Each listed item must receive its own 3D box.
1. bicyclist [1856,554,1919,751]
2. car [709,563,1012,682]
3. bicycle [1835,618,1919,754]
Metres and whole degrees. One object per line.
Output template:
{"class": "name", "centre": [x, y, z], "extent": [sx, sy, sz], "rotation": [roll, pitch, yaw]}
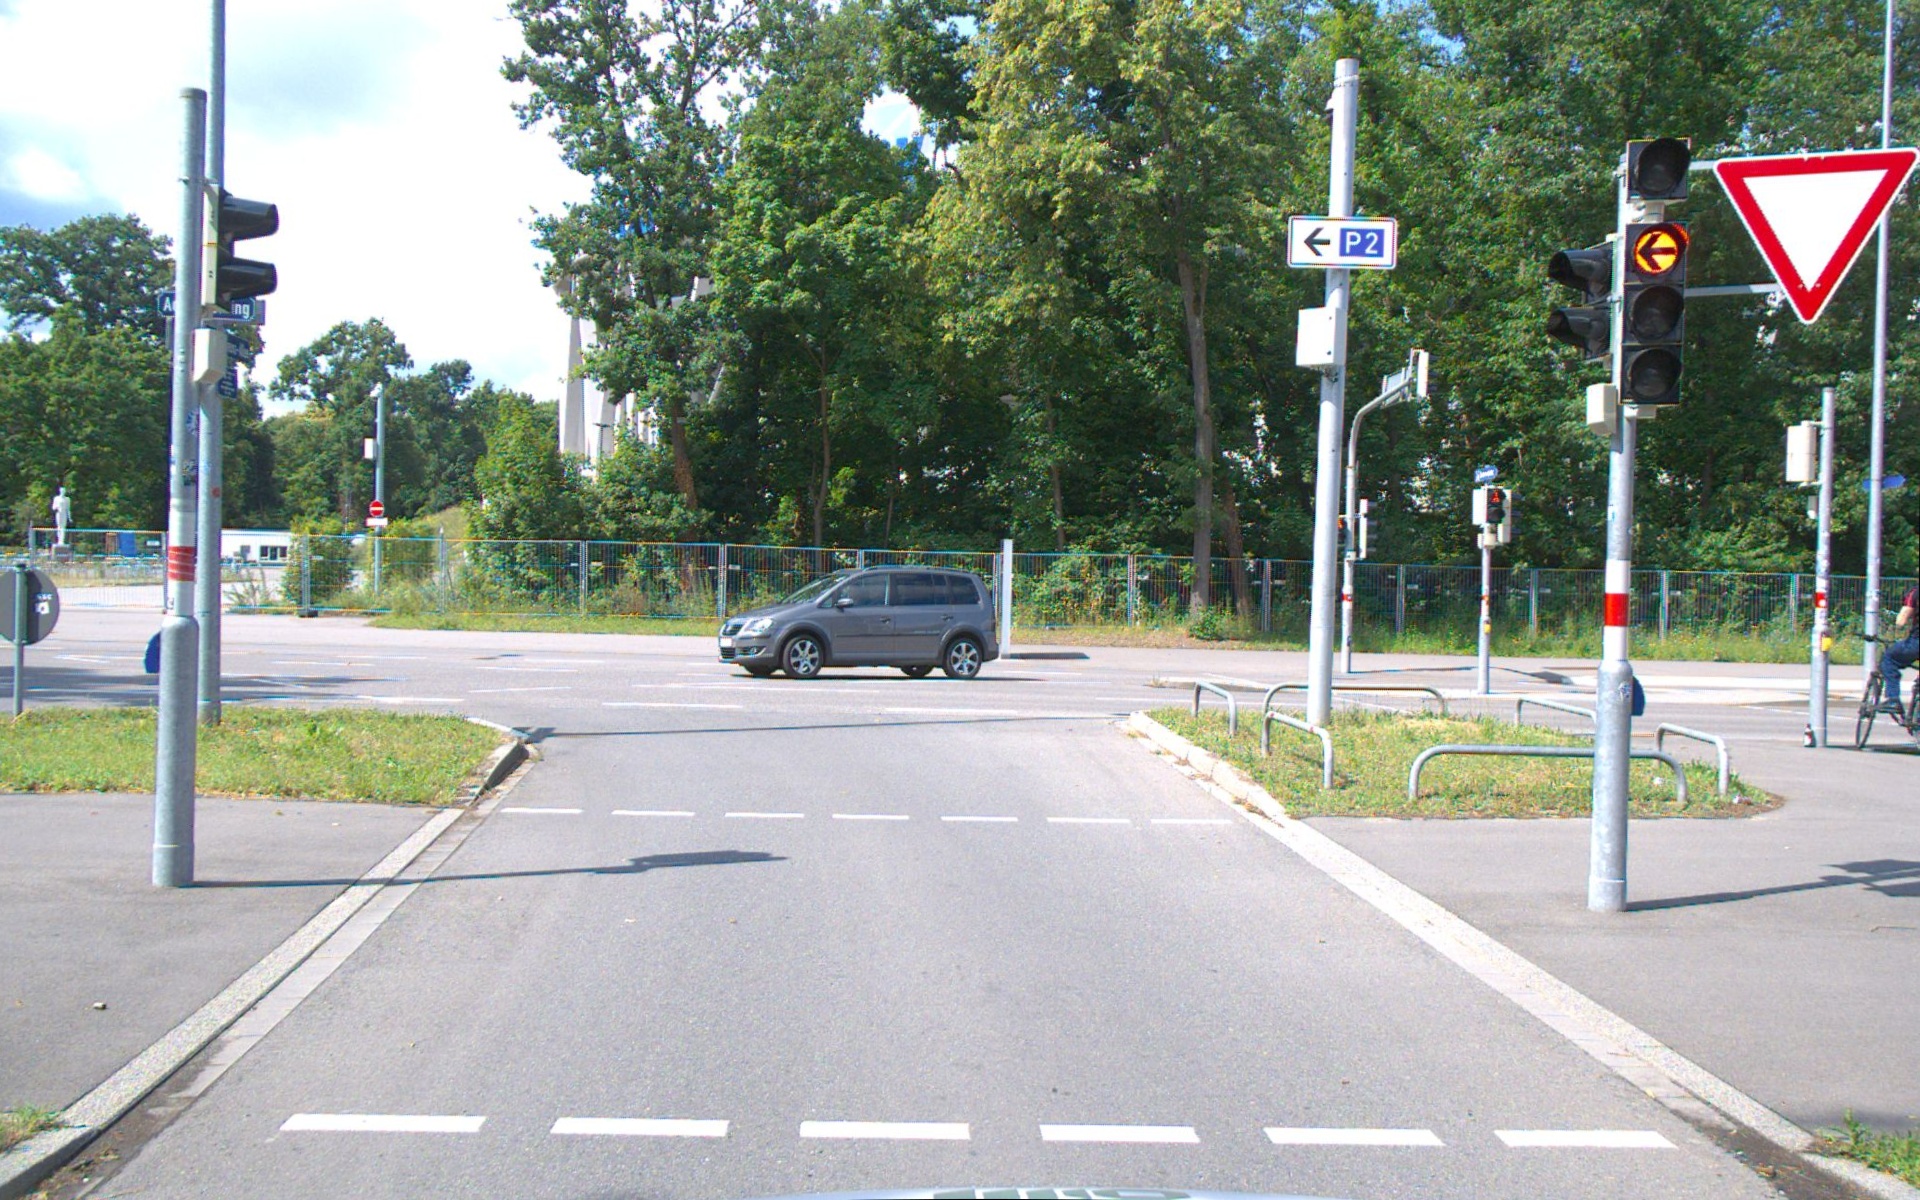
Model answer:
{"class": "bicyclist", "centre": [9.237, 0.494, 15.817], "extent": [0.866, 1.829, 0.979], "rotation": [1, -1, 8]}
{"class": "car", "centre": [-1.481, 0.304, 24.940], "extent": [4.236, 1.658, 1.751], "rotation": [0, 1, -28]}
{"class": "bicycle", "centre": [9.237, 0.795, 15.904], "extent": [0.861, 1.227, 1.899], "rotation": [1, 0, 8]}
